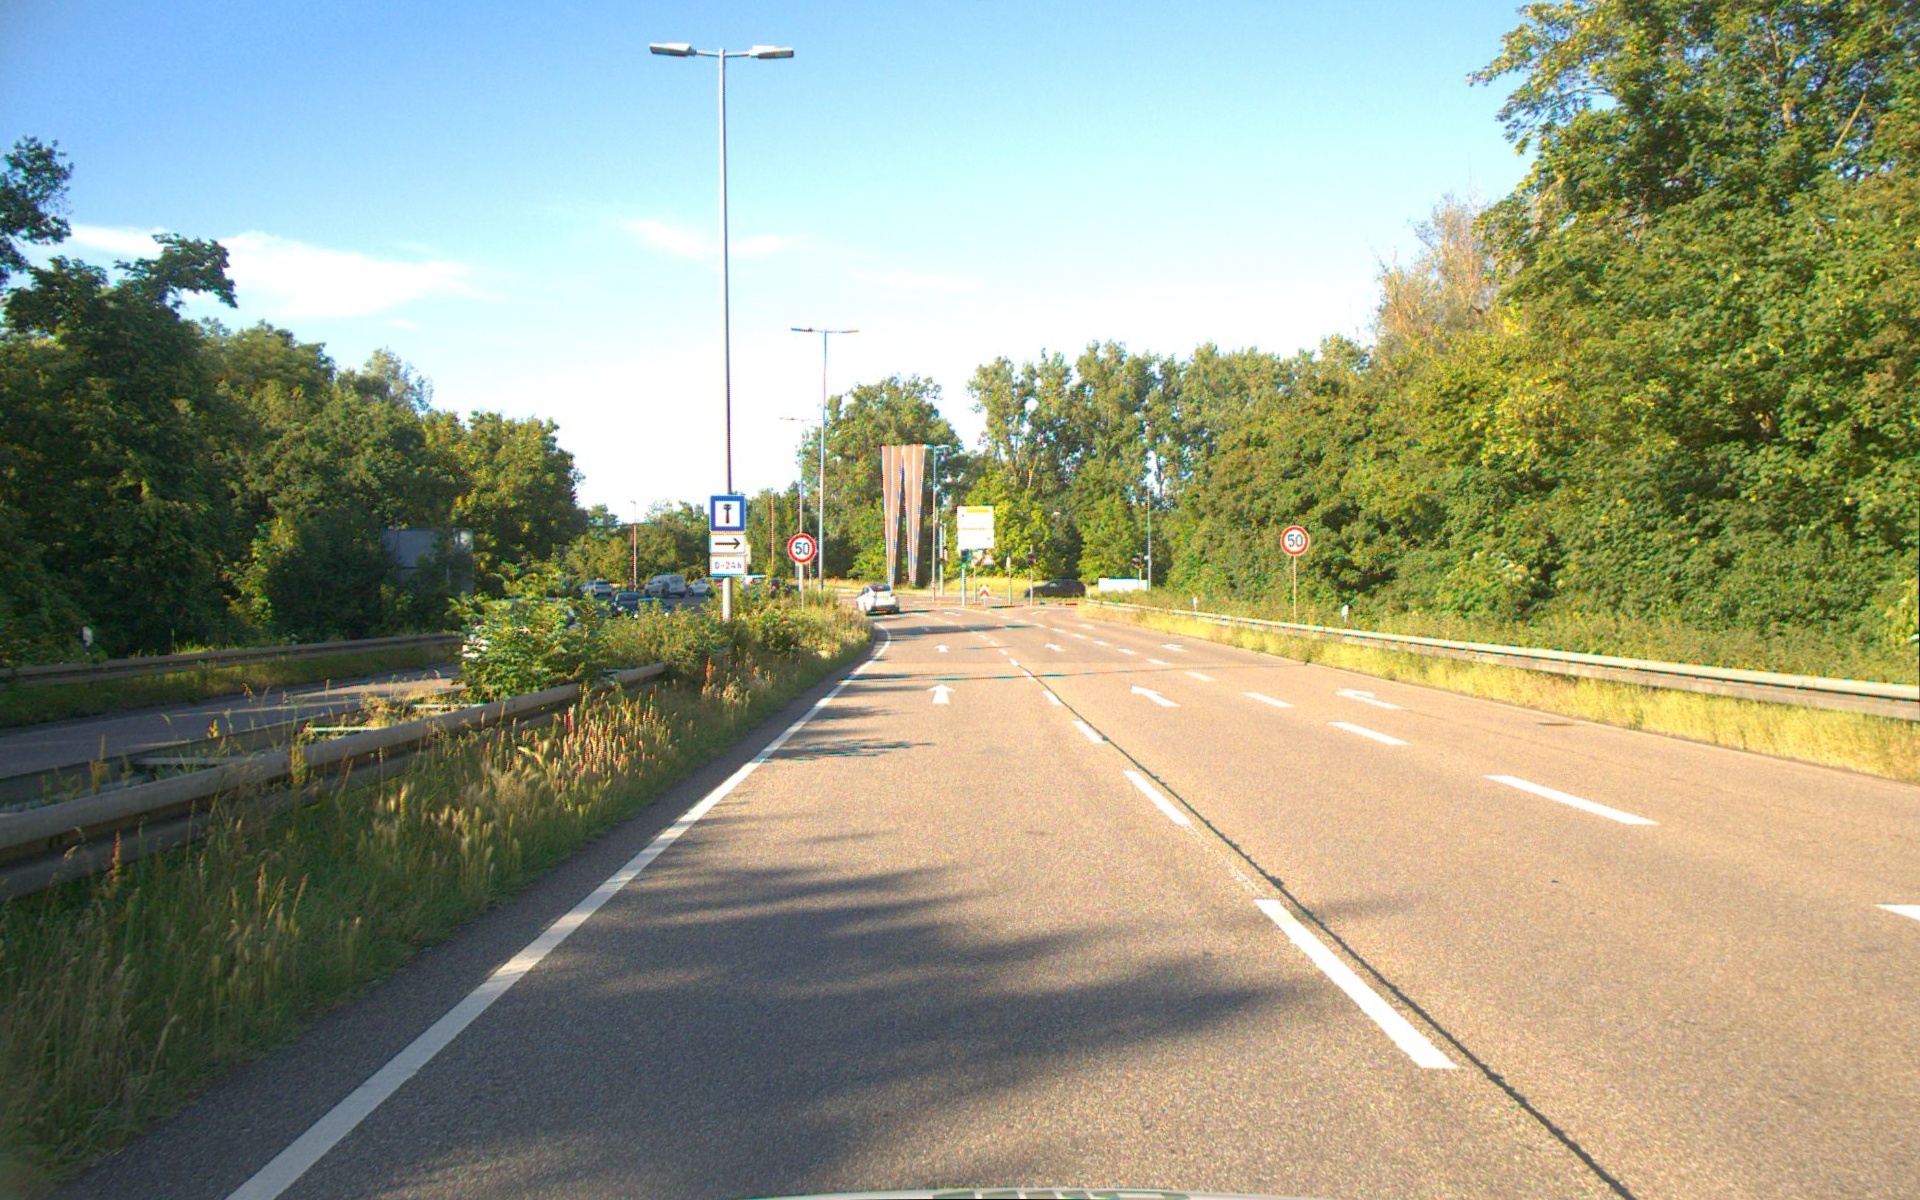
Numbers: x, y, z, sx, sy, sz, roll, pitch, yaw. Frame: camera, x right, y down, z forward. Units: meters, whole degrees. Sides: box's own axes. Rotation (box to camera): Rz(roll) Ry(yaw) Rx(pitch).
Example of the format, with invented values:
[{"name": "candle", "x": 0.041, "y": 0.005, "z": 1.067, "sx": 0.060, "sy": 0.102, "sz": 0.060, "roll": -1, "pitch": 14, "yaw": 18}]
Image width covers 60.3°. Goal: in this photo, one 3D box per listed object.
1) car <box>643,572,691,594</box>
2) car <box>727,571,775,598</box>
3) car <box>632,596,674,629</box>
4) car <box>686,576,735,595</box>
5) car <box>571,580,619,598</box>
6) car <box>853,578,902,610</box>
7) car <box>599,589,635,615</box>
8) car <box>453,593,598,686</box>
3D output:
[{"name": "car", "x": -23.718, "y": -1.381, "z": 133.780, "sx": 1.960, "sy": 1.728, "sz": 3.937, "roll": -2, "pitch": 2, "yaw": -43}, {"name": "car", "x": -15.418, "y": -1.129, "z": 122.064, "sx": 1.974, "sy": 1.912, "sz": 4.204, "roll": -2, "pitch": 1, "yaw": -31}, {"name": "car", "x": -14.469, "y": 0.571, "z": 78.188, "sx": 1.772, "sy": 1.441, "sz": 4.522, "roll": -2, "pitch": 0, "yaw": -9}, {"name": "car", "x": -20.425, "y": -1.214, "z": 135.229, "sx": 4.085, "sy": 1.500, "sz": 1.961, "roll": 1, "pitch": 2, "yaw": 45}, {"name": "car", "x": -31.906, "y": -0.933, "z": 144.431, "sx": 3.928, "sy": 1.534, "sz": 2.260, "roll": 0, "pitch": 0, "yaw": 42}, {"name": "car", "x": -4.572, "y": -0.373, "z": 91.210, "sx": 1.959, "sy": 1.668, "sz": 4.114, "roll": -1, "pitch": 1, "yaw": -13}, {"name": "car", "x": -20.579, "y": 0.113, "z": 99.135, "sx": 1.855, "sy": 1.445, "sz": 4.346, "roll": -3, "pitch": 1, "yaw": -15}, {"name": "car", "x": -8.155, "y": 0.686, "z": 31.406, "sx": 1.734, "sy": 1.597, "sz": 4.217, "roll": -1, "pitch": 0, "yaw": -2}]
